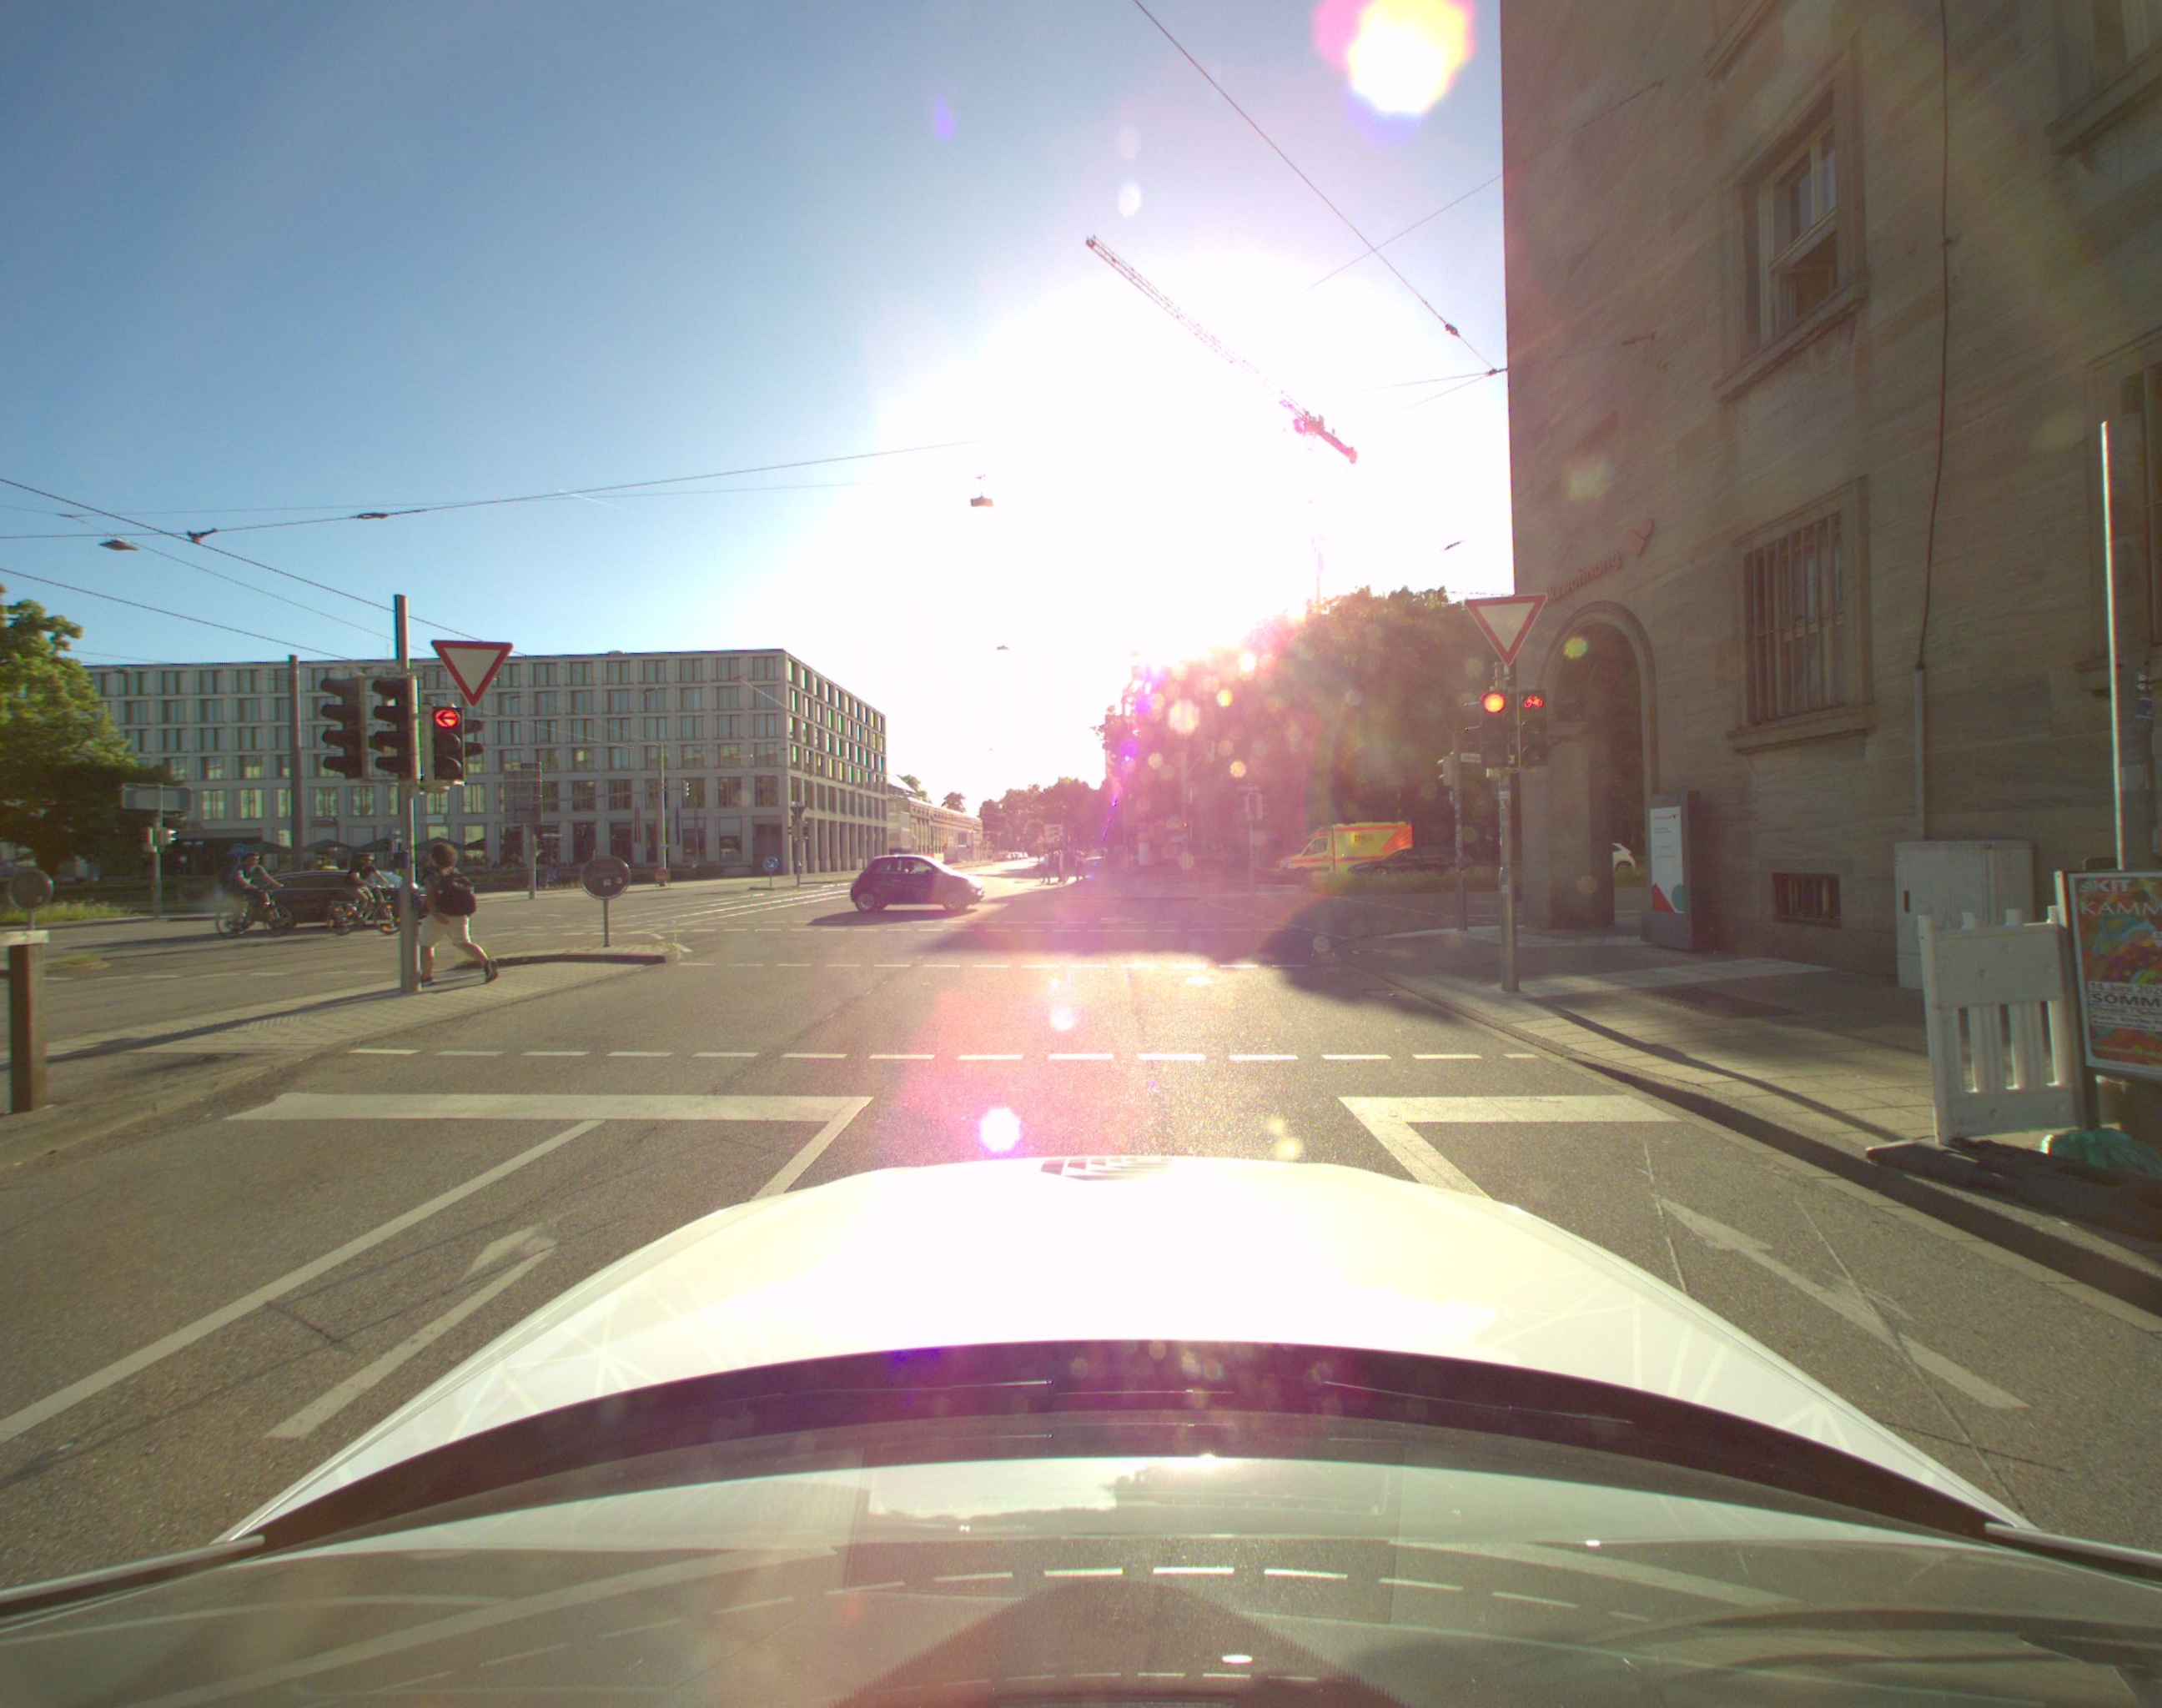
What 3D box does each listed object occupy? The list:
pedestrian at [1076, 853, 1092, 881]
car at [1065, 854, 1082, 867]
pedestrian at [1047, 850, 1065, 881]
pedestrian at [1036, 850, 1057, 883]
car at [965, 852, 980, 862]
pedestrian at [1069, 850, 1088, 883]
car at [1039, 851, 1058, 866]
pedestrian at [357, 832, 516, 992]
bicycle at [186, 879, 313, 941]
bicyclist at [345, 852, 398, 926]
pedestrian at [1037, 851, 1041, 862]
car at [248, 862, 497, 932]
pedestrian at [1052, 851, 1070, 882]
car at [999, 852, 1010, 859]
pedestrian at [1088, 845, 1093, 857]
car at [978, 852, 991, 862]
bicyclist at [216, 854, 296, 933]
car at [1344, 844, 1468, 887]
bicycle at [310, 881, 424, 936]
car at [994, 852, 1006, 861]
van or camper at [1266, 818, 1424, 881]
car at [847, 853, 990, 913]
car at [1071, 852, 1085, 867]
[{"bbox_3d":[0.193,0.742,46.605,0.763,1.558,0.585,-2,0,-15],"label":"pedestrian"},{"bbox_3d":[-0.836,0.758,92.216,1.678,1.501,3.510,0,-1,2],"label":"car"},{"bbox_3d":[-1.470,0.675,47.427,0.849,1.784,0.776,-2,0,-15],"label":"pedestrian"},{"bbox_3d":[-1.930,0.685,45.092,0.967,1.784,0.776,-2,0,-15],"label":"pedestrian"},{"bbox_3d":[-17.815,0.496,134.115,1.812,1.712,3.807,-2,0,2],"label":"car"},{"bbox_3d":[-0.140,0.704,45.793,0.849,1.784,0.776,-2,0,-15],"label":"pedestrian"},{"bbox_3d":[-3.223,0.440,82.112,1.678,1.501,3.510,0,-1,2],"label":"car"},{"bbox_3d":[-7.431,0.630,9.461,1.039,1.721,1.032,-2,0,-10],"label":"pedestrian"},{"bbox_3d":[-18.506,1.236,18.154,2.037,1.288,0.888,-2,0,7],"label":"bicycle"},{"bbox_3d":[-15.676,0.766,18.001,0.615,1.582,0.595,-2,0,7],"label":"bicyclist"},{"bbox_3d":[-5.653,0.321,108.613,0.522,1.484,0.437,0,-1,0],"label":"pedestrian"},{"bbox_3d":[-18.541,1.088,21.472,4.880,1.656,1.935,-1,1,2],"label":"car"},{"bbox_3d":[-1.141,0.713,46.668,0.849,1.784,0.776,-2,0,-15],"label":"pedestrian"},{"bbox_3d":[-15.044,0.298,160.783,1.603,1.498,3.807,-2,0,2],"label":"car"},{"bbox_3d":[2.983,-0.753,246.195,1.396,3.597,1.568,0,-1,1],"label":"pedestrian"},{"bbox_3d":[-17.199,0.501,145.017,1.812,1.712,3.807,-2,0,2],"label":"car"},{"bbox_3d":[-18.359,0.869,18.136,0.885,1.695,0.846,-2,0,7],"label":"bicyclist"},{"bbox_3d":[13.009,0.452,32.777,4.297,1.647,1.889,0,-1,2],"label":"car"},{"bbox_3d":[-15.790,1.196,18.036,1.913,1.122,0.792,-2,0,7],"label":"bicycle"},{"bbox_3d":[-15.540,0.415,156.564,1.812,1.712,3.807,-2,0,2],"label":"car"},{"bbox_3d":[12.340,-0.188,38.564,6.674,2.862,2.915,0,-1,6],"label":"van or camper"},{"bbox_3d":[-4.318,0.756,21.981,3.519,1.506,1.522,-1,0,-1],"label":"car"},{"bbox_3d":[-0.373,0.771,107.829,1.678,1.962,3.510,0,-1,2],"label":"car"}]
